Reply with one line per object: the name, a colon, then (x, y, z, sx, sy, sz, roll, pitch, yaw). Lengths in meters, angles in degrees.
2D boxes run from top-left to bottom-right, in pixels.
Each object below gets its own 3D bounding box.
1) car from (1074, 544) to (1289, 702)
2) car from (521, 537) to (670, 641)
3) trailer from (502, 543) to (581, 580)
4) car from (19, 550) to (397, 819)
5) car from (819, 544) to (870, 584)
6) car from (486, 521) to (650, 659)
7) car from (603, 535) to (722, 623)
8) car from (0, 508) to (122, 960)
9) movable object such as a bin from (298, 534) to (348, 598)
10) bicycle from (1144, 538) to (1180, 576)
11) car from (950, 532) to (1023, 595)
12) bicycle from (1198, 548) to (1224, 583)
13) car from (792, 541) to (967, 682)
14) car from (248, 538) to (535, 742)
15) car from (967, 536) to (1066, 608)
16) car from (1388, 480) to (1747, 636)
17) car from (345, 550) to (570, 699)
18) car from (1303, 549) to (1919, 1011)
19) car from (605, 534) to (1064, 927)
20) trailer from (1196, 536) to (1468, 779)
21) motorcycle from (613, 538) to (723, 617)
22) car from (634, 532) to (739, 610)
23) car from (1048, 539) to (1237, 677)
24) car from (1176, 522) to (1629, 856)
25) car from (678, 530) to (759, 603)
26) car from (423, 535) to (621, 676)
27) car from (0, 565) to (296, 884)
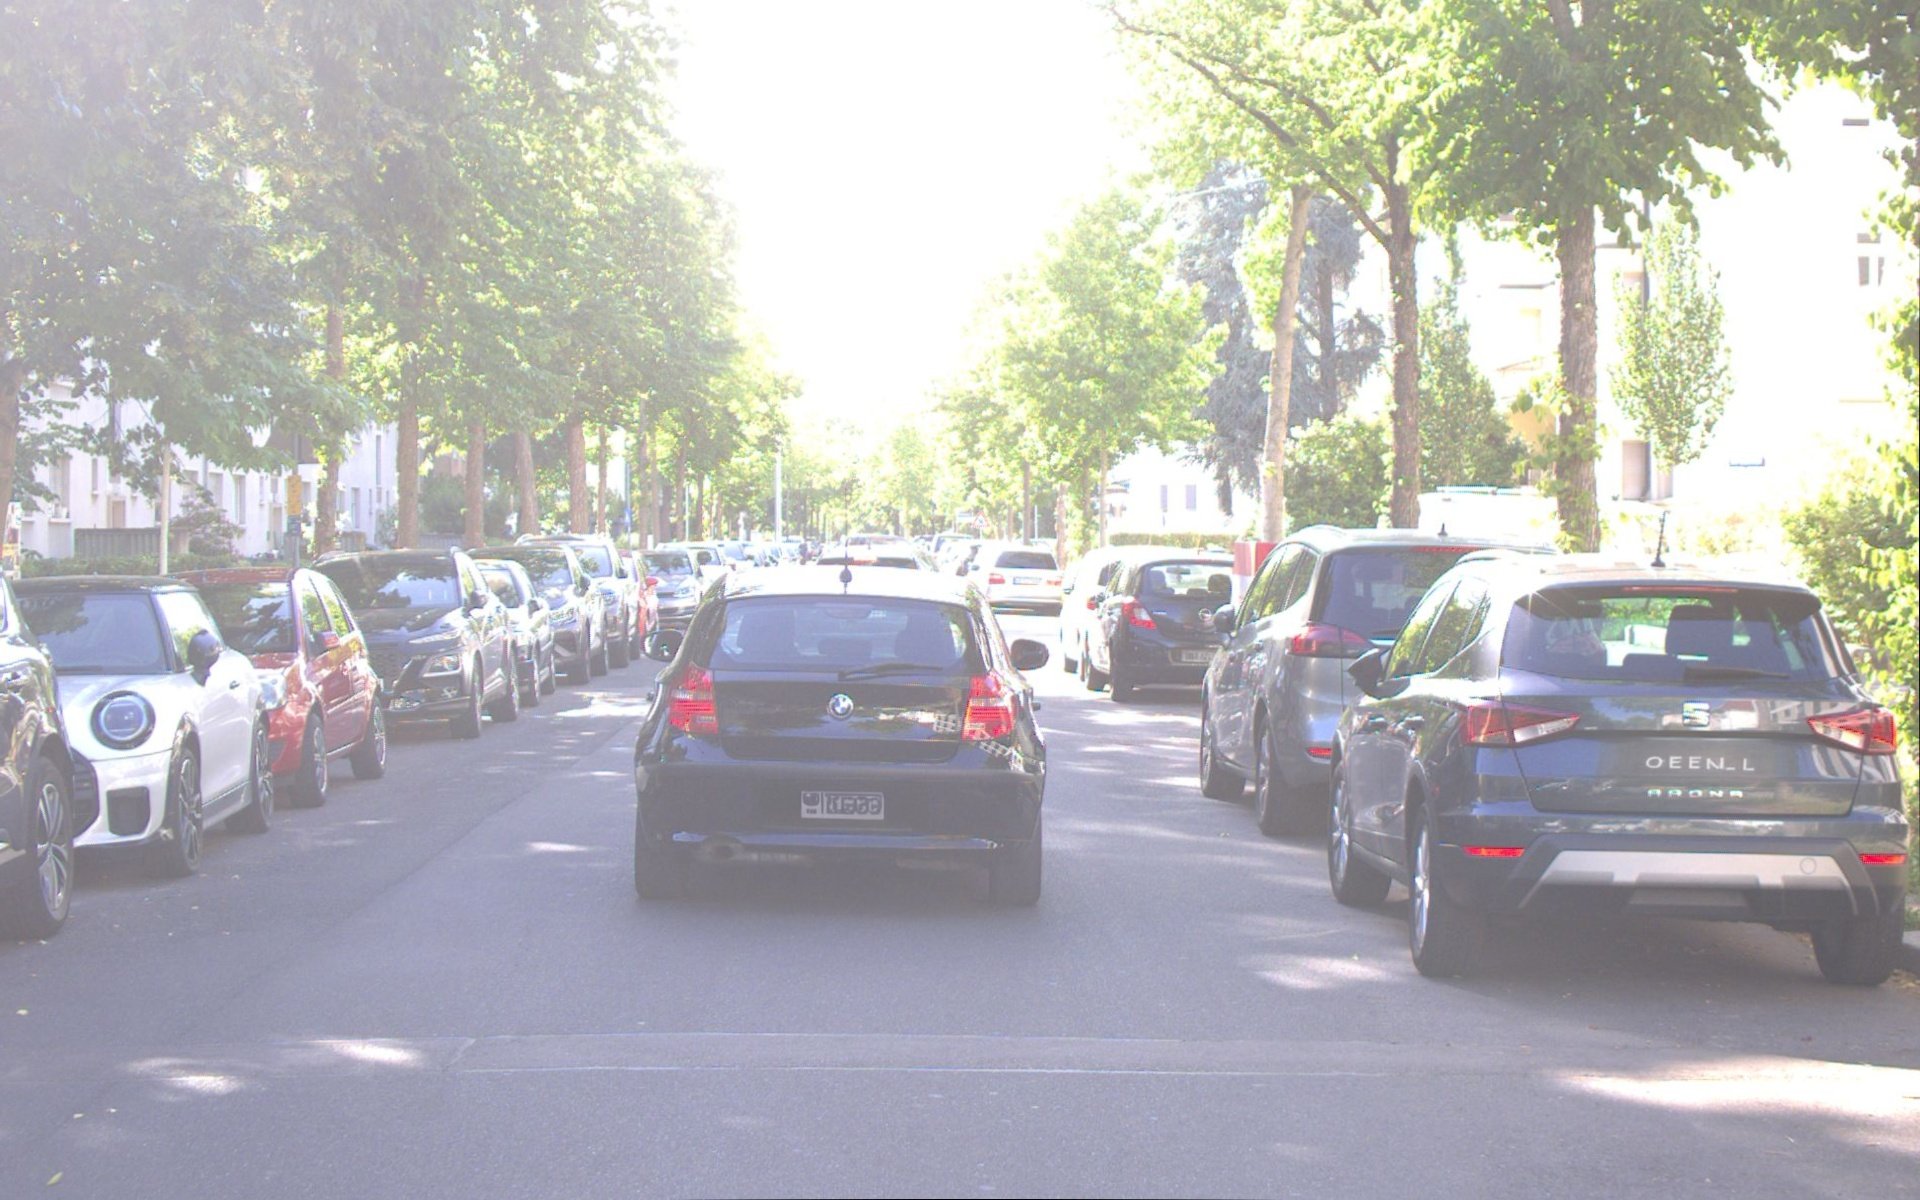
car: (2.187, 0.187, 34.957, 1.670, 1.445, 4.179, 2, 1, -3)
car: (-5.384, -0.196, 51.251, 1.856, 1.464, 4.182, 0, 1, -1)
trailer: (-11.773, -1.090, 96.935, 1.789, 1.030, 3.281, 0, 1, 1)
car: (-4.652, 0.455, 21.786, 1.654, 1.499, 4.069, -1, 1, -3)
car: (-4.310, -1.354, 127.971, 1.809, 1.441, 4.367, -2, 1, -2)
car: (-5.075, -0.173, 44.995, 1.767, 1.682, 4.815, -1, 1, -2)
car: (-5.373, -0.412, 62.597, 2.042, 1.519, 4.607, 0, 1, -3)
car: (-4.416, 0.510, 12.033, 1.841, 1.651, 5.088, -1, 1, -2)
movable object such as a bin: (-13.364, -0.727, 72.115, 0.929, 1.319, 1.379, -1, 1, -7)
bicycle: (6.625, -1.414, 112.830, 0.838, 1.253, 2.232, 1, 1, -5)
car: (0.732, -1.036, 95.518, 1.926, 1.646, 5.095, 2, 1, 0)
bicycle: (7.074, -0.982, 96.960, 0.581, 0.971, 1.903, -1, 1, 0)
car: (-1.001, 0.112, 40.174, 1.895, 1.519, 4.968, 1, 0, -3)
car: (-4.724, 0.273, 29.123, 1.706, 1.571, 4.482, -1, 1, 0)
car: (1.198, -0.630, 75.227, 1.821, 1.464, 4.910, 2, 1, -3)
car: (9.309, -0.667, 52.658, 5.039, 2.298, 2.235, -1, 1, -24)
car: (-4.940, 0.195, 34.333, 1.784, 1.348, 4.482, -1, 1, -3)
car: (2.475, 0.575, 13.712, 1.718, 1.511, 4.345, 1, 1, -1)
car: (-0.575, 0.475, 15.531, 1.782, 1.518, 4.001, -1, 1, -2)
trailer: (2.607, 0.356, 24.660, 1.574, 1.573, 3.192, 2, 1, 1)
motorcycle: (-5.660, -0.446, 66.572, 0.987, 1.498, 2.233, -2, 1, -41)
car: (-5.607, -0.623, 70.548, 2.063, 1.519, 4.723, 0, 1, -4)
car: (2.042, 0.049, 39.525, 1.732, 1.482, 4.010, 1, 1, -3)
car: (2.403, 0.409, 19.888, 1.792, 1.637, 4.819, 2, 1, -2)
car: (-5.762, -0.823, 82.297, 1.728, 1.612, 4.367, -3, 1, -2)
car: (-5.004, 0.020, 39.761, 1.769, 1.526, 4.420, 0, 1, -1)
car: (-4.495, 0.536, 17.312, 1.654, 1.368, 4.190, -1, 1, -3)
